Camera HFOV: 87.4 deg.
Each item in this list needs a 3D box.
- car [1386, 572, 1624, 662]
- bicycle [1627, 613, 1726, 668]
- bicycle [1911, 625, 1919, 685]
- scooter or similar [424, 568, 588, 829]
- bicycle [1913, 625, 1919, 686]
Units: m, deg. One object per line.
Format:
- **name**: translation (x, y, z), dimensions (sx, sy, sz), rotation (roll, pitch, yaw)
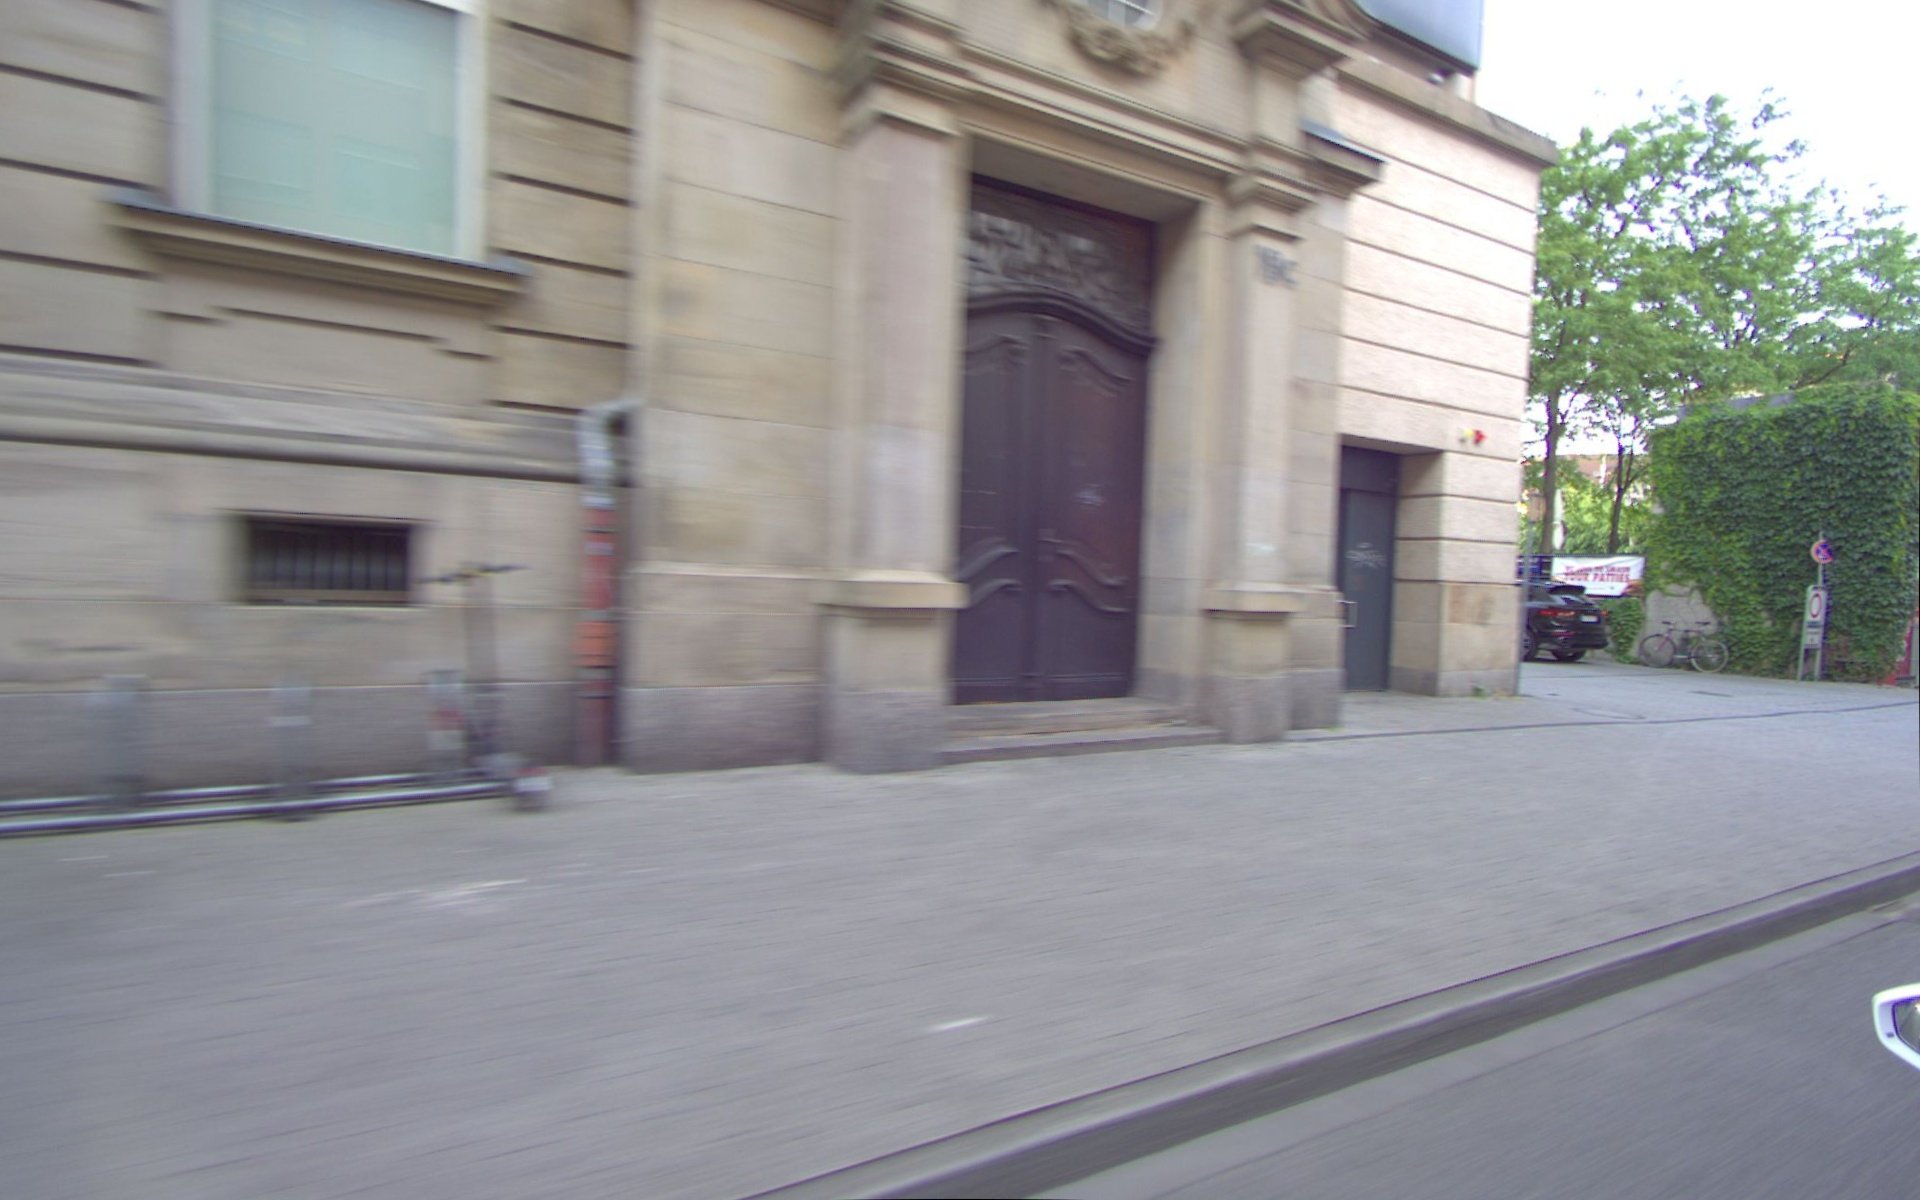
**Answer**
- **car**: translation (11.917, 0.293, 22.273), dimensions (2.041, 1.783, 4.203), rotation (1, 1, -28)
- **bicycle**: translation (14.925, 0.826, 20.963), dimensions (0.366, 1.027, 1.652), rotation (1, 2, -28)
- **bicycle**: translation (18.613, 1.066, 18.290), dimensions (0.494, 1.122, 1.785), rotation (1, 2, -31)
- **scooter or similar**: translation (-2.518, 0.477, 5.525), dimensions (0.493, 1.249, 1.122), rotation (0, 3, -42)
- **bicycle**: translation (18.382, 1.062, 18.002), dimensions (0.494, 1.122, 1.785), rotation (1, 2, -30)
